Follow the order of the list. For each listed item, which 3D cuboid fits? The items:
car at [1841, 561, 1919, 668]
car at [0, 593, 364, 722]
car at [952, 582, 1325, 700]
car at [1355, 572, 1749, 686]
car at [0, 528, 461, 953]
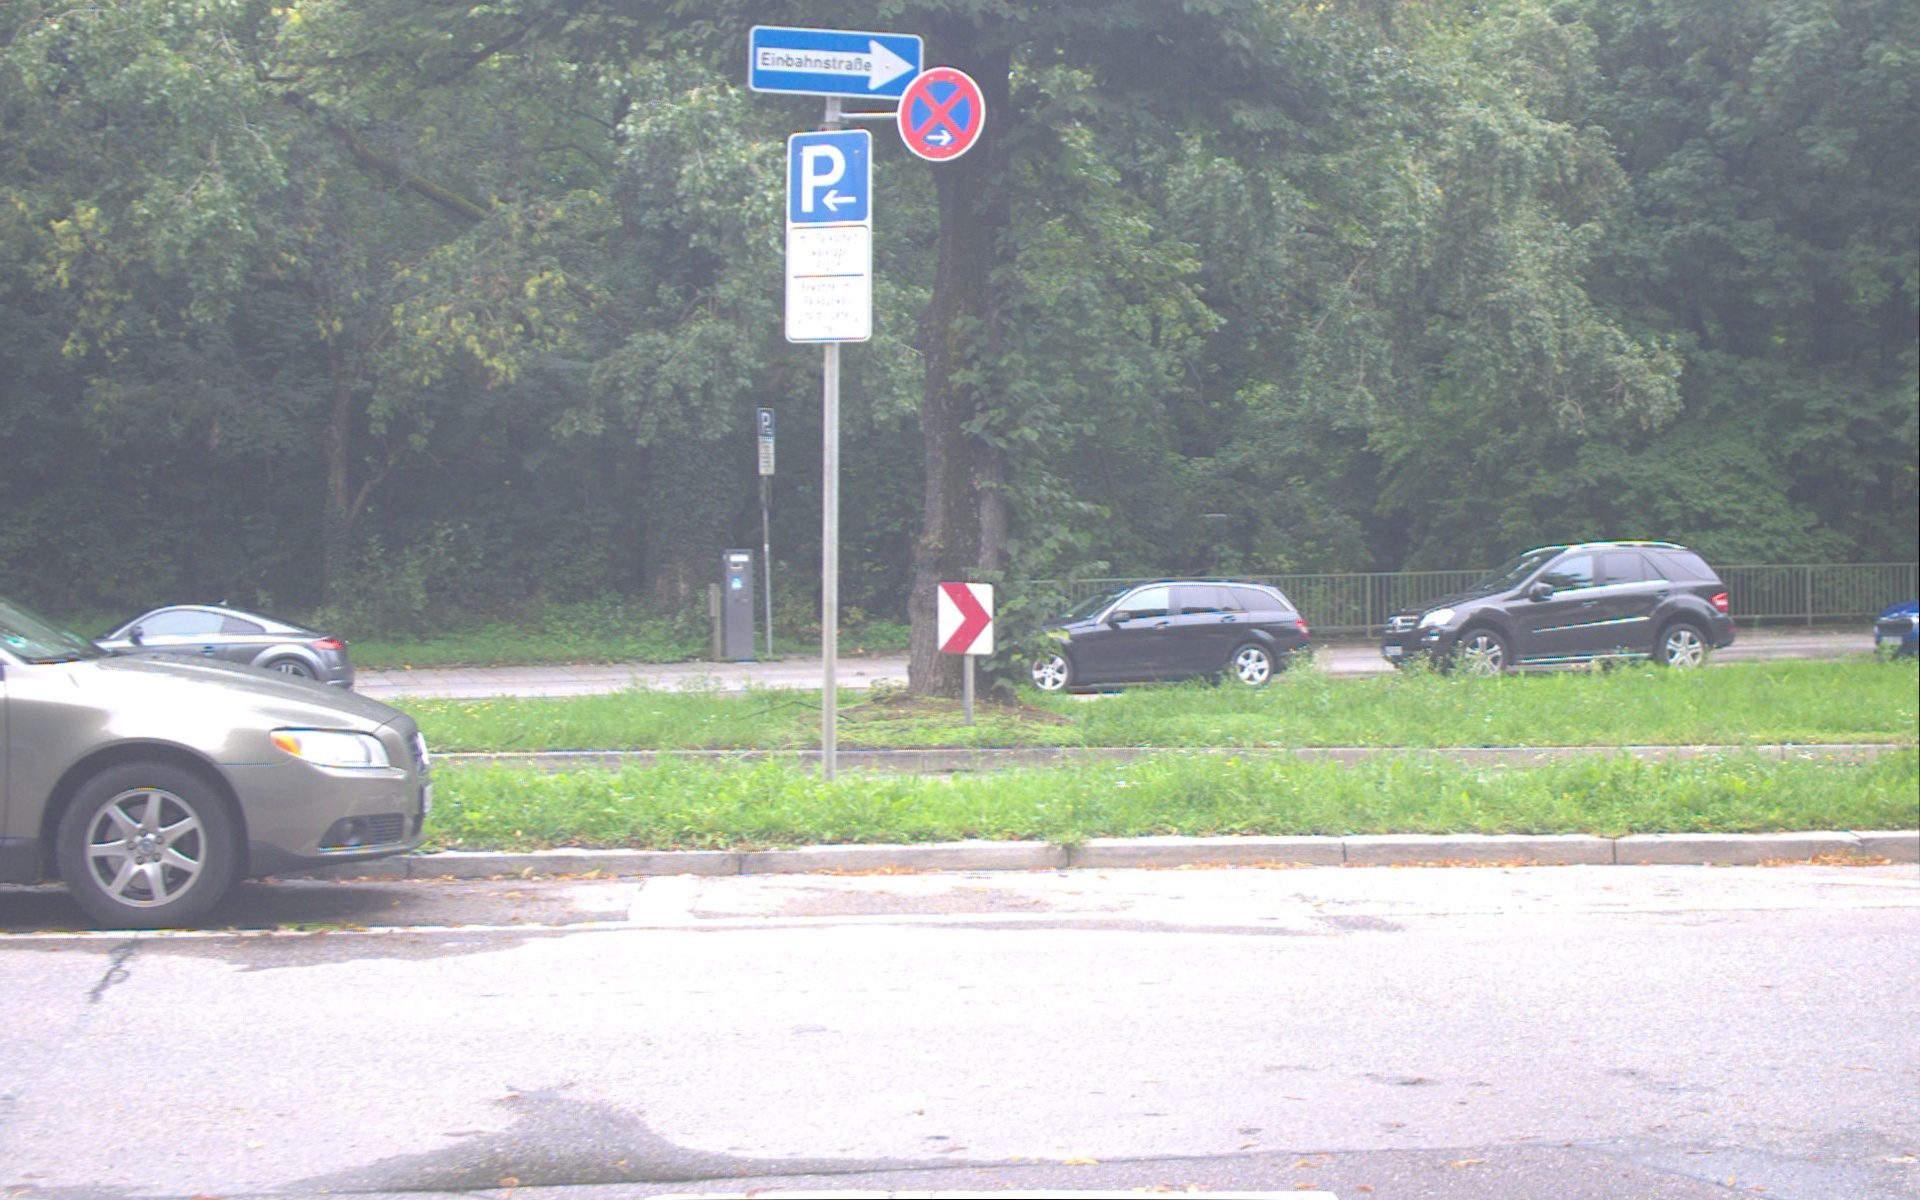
[{"bbox_3d":[14.778,0.192,48.041,4.408,1.441,2.000,0,-1,-20],"label":"car"},{"bbox_3d":[-9.349,0.661,40.378,4.509,1.441,2.000,0,-1,-13],"label":"car"},{"bbox_3d":[2.267,0.506,43.902,4.303,1.441,2.000,0,-1,-19],"label":"car"},{"bbox_3d":[7.829,0.374,45.528,4.751,1.441,2.000,0,-1,-19],"label":"car"},{"bbox_3d":[-4.429,0.510,13.495,4.754,1.560,1.905,0,0,-4],"label":"car"}]
